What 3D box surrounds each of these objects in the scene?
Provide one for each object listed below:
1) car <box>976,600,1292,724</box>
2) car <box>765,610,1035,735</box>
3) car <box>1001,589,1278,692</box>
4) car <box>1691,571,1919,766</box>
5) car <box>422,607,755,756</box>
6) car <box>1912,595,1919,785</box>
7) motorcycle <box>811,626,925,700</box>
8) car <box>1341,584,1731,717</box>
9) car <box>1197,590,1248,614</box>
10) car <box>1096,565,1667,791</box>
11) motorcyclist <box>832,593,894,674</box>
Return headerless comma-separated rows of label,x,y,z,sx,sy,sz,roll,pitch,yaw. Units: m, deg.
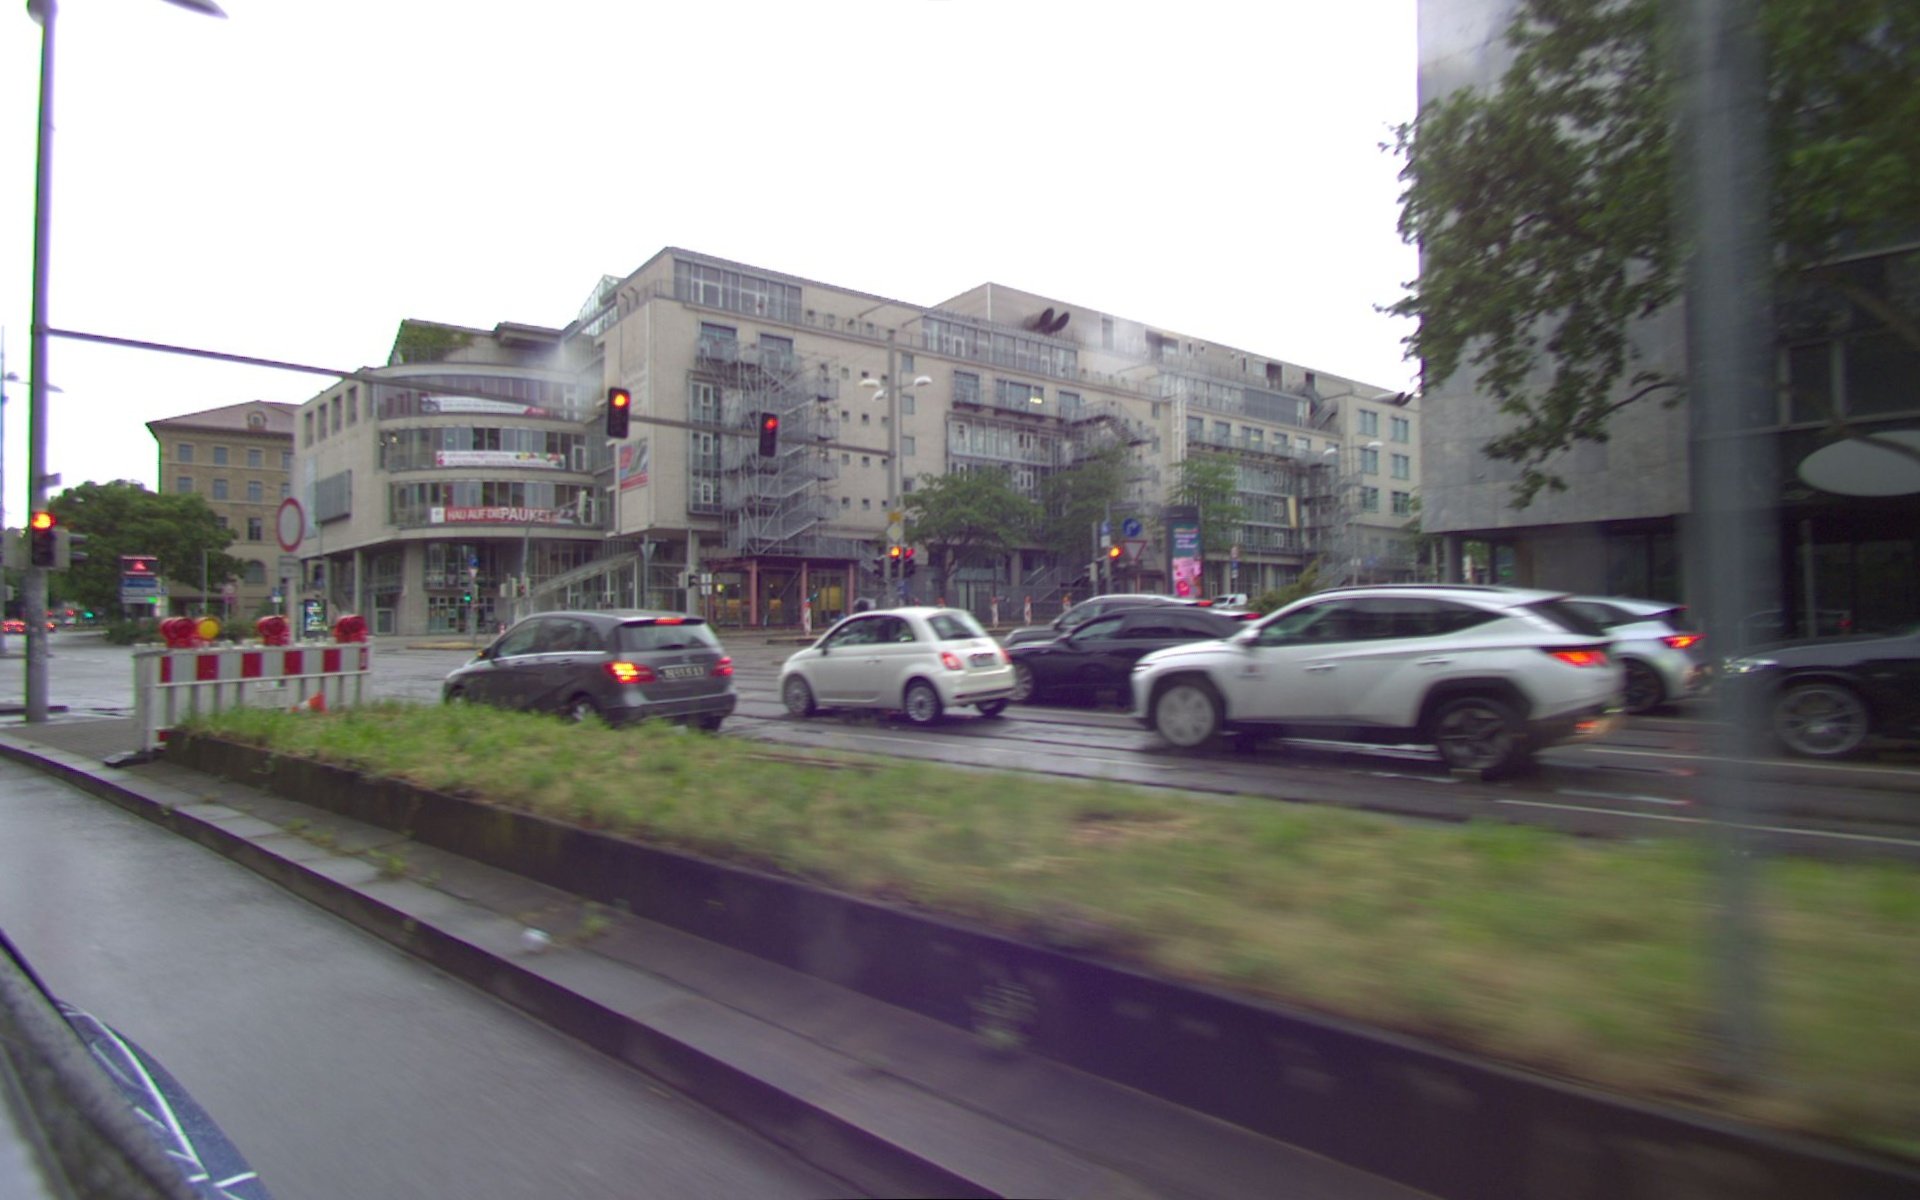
car,2.471,0.830,14.900,4.217,1.577,1.819,-1,-1,38
car,-0.878,0.924,13.855,3.427,1.487,1.700,-2,-1,39
car,3.122,0.680,18.244,4.657,1.630,1.740,-1,-1,40
car,9.334,0.567,8.955,4.413,1.678,1.823,-2,-1,44
car,-4.585,0.891,12.259,4.157,1.493,1.826,-2,-1,37
car,8.646,0.626,5.560,4.917,1.462,1.823,-2,-1,43
motorcycle,-1.656,1.100,17.989,2.039,1.237,0.712,-2,-1,35
car,8.126,0.652,14.528,4.584,1.616,1.973,-1,-1,40
car,21.690,0.145,83.540,4.269,1.807,2.003,-1,-1,-41
car,3.872,0.650,9.885,4.795,1.698,1.857,-2,-1,41
motorcyclist,-1.730,0.593,18.038,0.732,1.402,0.780,-2,-1,35
